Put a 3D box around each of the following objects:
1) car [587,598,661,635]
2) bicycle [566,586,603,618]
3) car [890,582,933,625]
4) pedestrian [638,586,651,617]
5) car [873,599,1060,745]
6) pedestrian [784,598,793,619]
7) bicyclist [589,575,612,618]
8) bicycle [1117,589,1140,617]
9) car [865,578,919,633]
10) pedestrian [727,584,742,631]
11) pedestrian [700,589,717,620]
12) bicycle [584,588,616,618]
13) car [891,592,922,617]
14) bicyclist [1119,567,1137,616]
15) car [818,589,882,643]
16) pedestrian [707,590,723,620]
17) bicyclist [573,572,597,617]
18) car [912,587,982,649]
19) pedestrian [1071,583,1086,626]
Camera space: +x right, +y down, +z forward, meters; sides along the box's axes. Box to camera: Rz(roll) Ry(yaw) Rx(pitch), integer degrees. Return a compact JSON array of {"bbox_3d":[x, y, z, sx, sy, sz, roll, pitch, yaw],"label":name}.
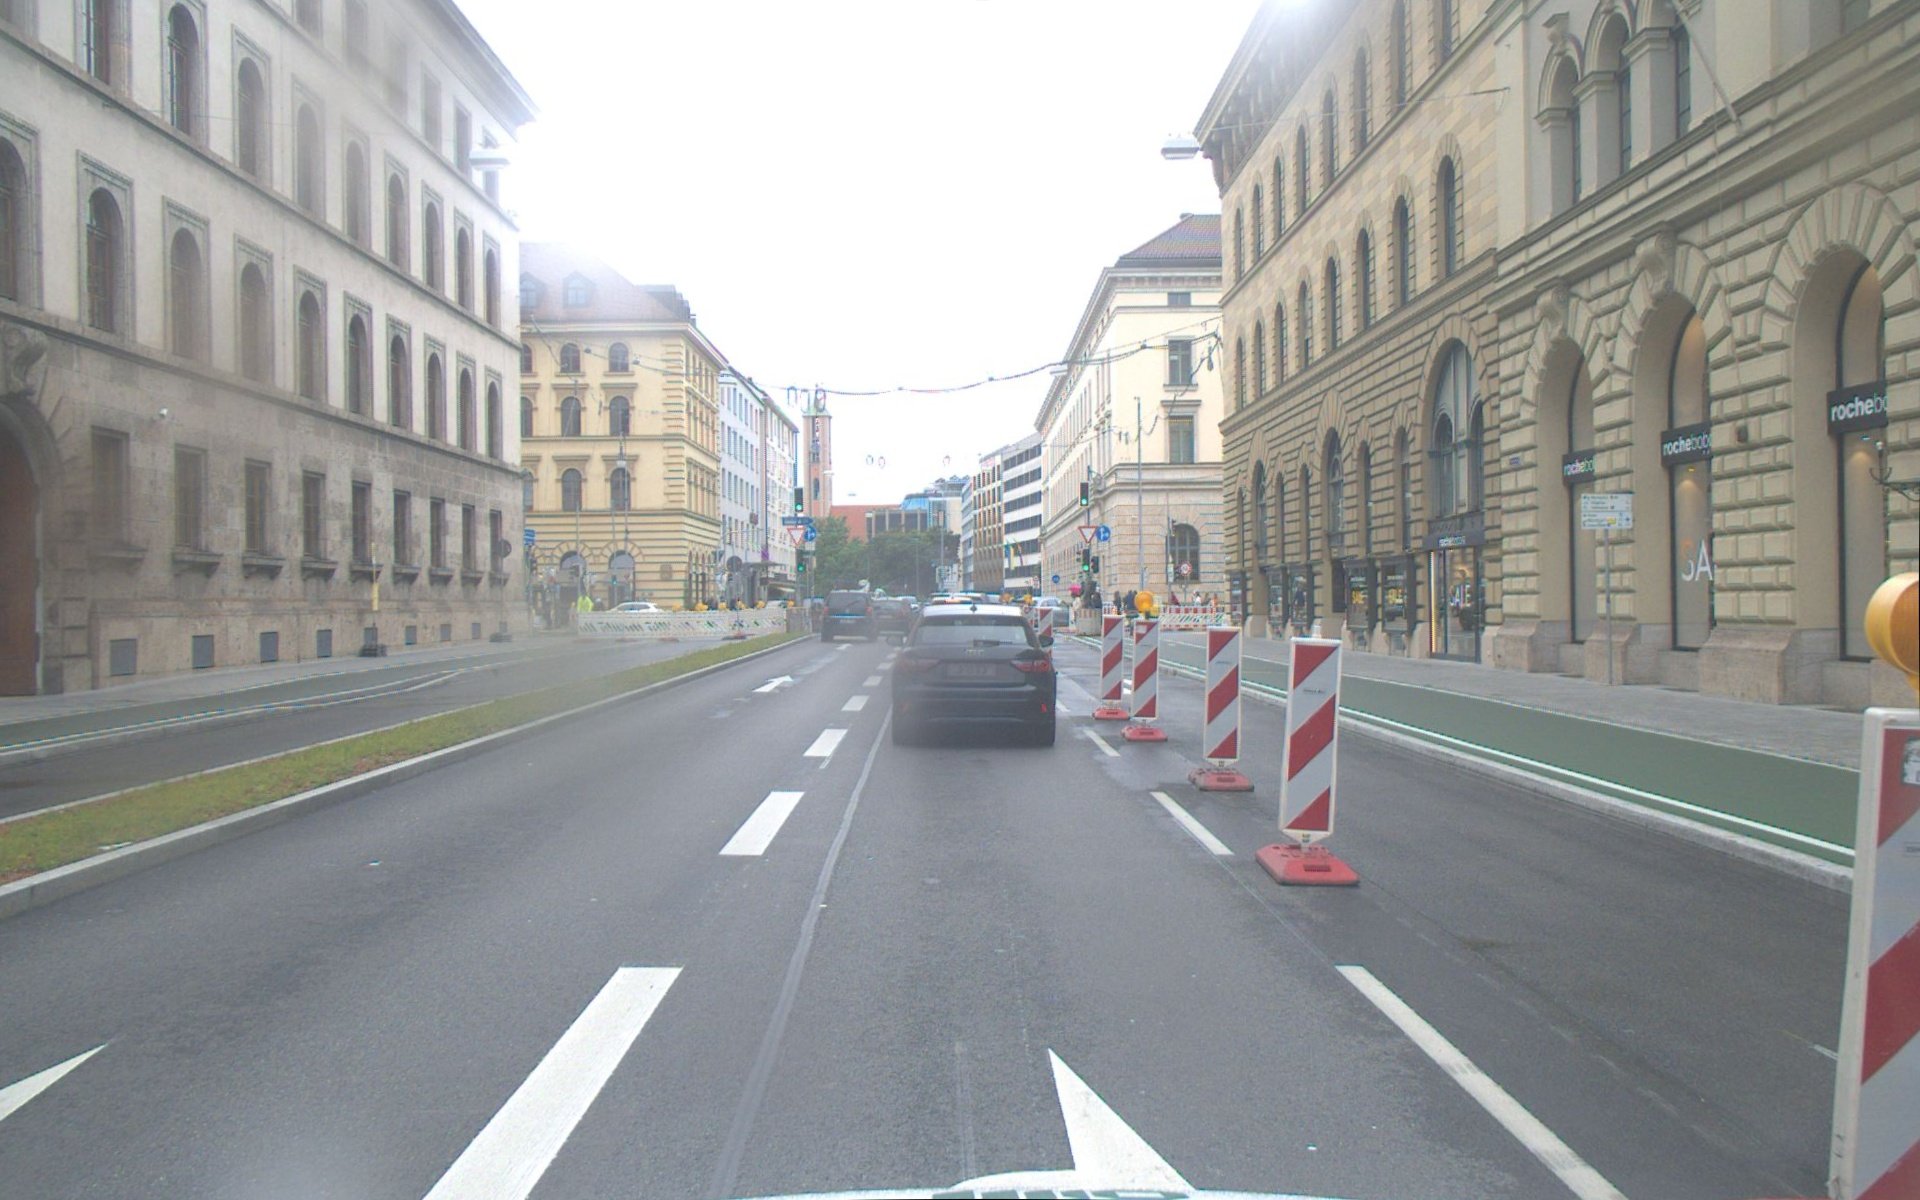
[{"bbox_3d":[-17.602,0.868,86.509,3.678,1.830,1.861,-1,0,-15],"label":"car"},{"bbox_3d":[-15.018,0.071,66.227,0.770,1.264,2.450,0,0,4],"label":"bicycle"},{"bbox_3d":[-2.364,0.159,81.476,1.953,2.049,4.000,-1,0,0],"label":"car"},{"bbox_3d":[-18.570,0.067,97.431,0.720,1.803,0.737,0,0,-11],"label":"pedestrian"},{"bbox_3d":[0.036,0.704,18.191,1.825,1.412,3.999,0,0,-1],"label":"car"},{"bbox_3d":[-14.594,0.743,140.597,0.722,1.803,0.736,0,0,-1],"label":"pedestrian"},{"bbox_3d":[-15.245,-0.155,70.202,0.781,1.807,0.689,0,0,3],"label":"bicyclist"},{"bbox_3d":[6.441,0.115,63.417,0.573,1.029,1.655,0,0,-5],"label":"bicycle"},{"bbox_3d":[-2.594,0.197,63.892,1.953,2.049,3.999,-1,0,-1],"label":"car"},{"bbox_3d":[-8.646,0.293,63.472,0.503,1.773,1.041,0,0,-10],"label":"pedestrian"},{"bbox_3d":[-14.851,0.277,97.820,0.718,1.803,0.761,0,0,20],"label":"pedestrian"},{"bbox_3d":[-15.253,0.120,70.135,0.770,1.264,2.200,0,0,4],"label":"bicycle"},{"bbox_3d":[-3.495,0.270,108.103,1.953,1.550,4.232,-1,0,-1],"label":"car"},{"bbox_3d":[6.441,-0.320,63.445,0.555,1.886,0.798,0,0,-5],"label":"bicyclist"},{"bbox_3d":[-3.503,0.481,53.130,1.827,1.629,3.850,-1,0,-1],"label":"car"},{"bbox_3d":[-14.590,0.285,98.526,0.718,1.803,0.739,0,0,20],"label":"pedestrian"},{"bbox_3d":[-15.015,-0.216,66.258,0.781,1.779,0.689,0,0,3],"label":"bicyclist"},{"bbox_3d":[-0.415,0.482,46.069,1.734,1.645,3.997,0,0,-4],"label":"car"},{"bbox_3d":[4.502,0.172,62.764,0.520,1.648,0.674,0,0,2],"label":"pedestrian"}]
